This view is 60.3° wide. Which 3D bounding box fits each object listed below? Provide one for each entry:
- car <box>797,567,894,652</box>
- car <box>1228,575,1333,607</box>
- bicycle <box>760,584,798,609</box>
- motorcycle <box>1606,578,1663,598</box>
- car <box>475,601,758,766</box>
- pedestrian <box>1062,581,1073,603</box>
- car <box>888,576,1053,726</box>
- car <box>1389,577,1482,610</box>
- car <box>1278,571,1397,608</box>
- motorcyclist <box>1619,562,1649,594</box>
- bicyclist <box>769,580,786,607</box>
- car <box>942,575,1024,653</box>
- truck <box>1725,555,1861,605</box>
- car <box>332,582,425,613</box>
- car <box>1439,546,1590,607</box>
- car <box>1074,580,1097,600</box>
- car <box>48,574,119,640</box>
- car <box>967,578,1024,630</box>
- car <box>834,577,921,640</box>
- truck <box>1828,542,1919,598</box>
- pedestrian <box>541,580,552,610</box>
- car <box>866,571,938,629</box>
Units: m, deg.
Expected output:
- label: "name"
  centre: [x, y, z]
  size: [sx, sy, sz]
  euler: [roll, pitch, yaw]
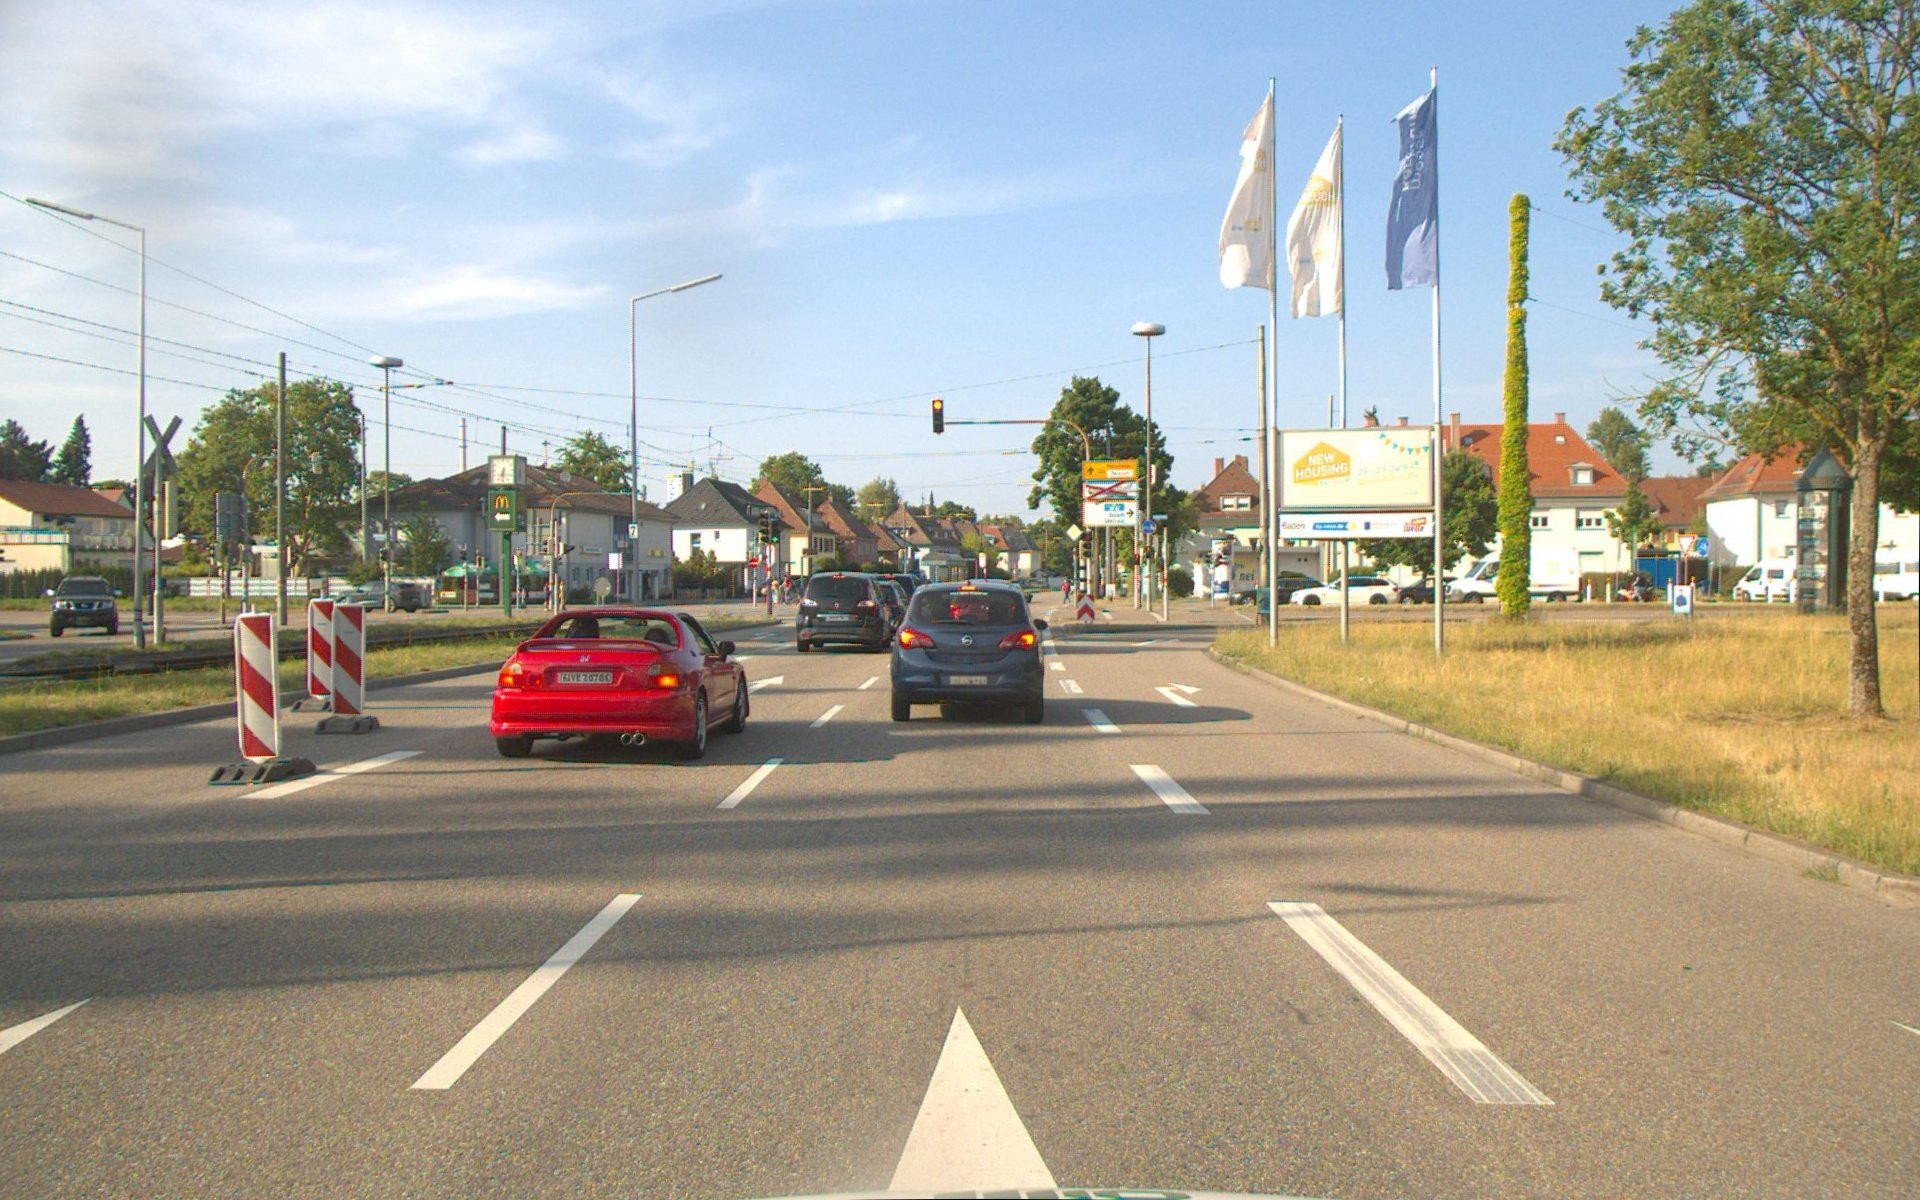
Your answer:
- label: "car"
  centre: [-2.381, 0.168, 35.370]
  size: [1.727, 1.700, 4.085]
  euler: [0, 1, 1]
- label: "car"
  centre: [15.045, -0.441, 77.829]
  size: [4.722, 1.436, 1.717]
  euler: [0, 0, 5]
- label: "bicycle"
  centre: [-9.953, -0.193, 91.105]
  size: [2.034, 1.371, 1.107]
  euler: [1, 0, -5]
- label: "motorcycle"
  centre: [29.588, -0.532, 72.591]
  size: [2.223, 0.882, 0.691]
  euler: [0, 0, 3]
- label: "car"
  centre: [-2.913, 0.654, 14.834]
  size: [1.695, 1.227, 3.847]
  euler: [0, 1, 1]
- label: "pedestrian"
  centre: [7.667, -0.552, 117.978]
  size: [0.737, 1.525, 0.828]
  euler: [1, 0, 7]
- label: "car"
  centre: [0.041, 0.493, 19.258]
  size: [1.706, 1.531, 4.221]
  euler: [0, 1, -2]
- label: "car"
  centre: [22.227, -0.311, 77.417]
  size: [3.903, 1.478, 1.717]
  euler: [0, 0, 5]
- label: "car"
  centre: [16.906, -0.472, 74.183]
  size: [4.987, 1.590, 1.841]
  euler: [0, 0, 5]
- label: "motorcyclist"
  centre: [29.587, -0.974, 72.586]
  size: [1.043, 1.375, 0.680]
  euler: [0, 0, 3]
- label: "bicyclist"
  centre: [-10.047, -0.352, 91.112]
  size: [0.867, 1.456, 1.135]
  euler: [1, 0, -5]
- label: "car"
  centre: [0.520, 0.263, 35.960]
  size: [1.671, 1.579, 3.978]
  euler: [-1, 1, 1]
- label: "truck"
  centre: [44.161, -1.095, 87.835]
  size: [2.247, 2.568, 6.292]
  euler: [-1, 1, -31]
- label: "car"
  centre: [-28.919, -0.136, 82.318]
  size: [3.902, 1.512, 2.002]
  euler: [-1, 1, 6]
- label: "car"
  centre: [24.658, -1.038, 73.748]
  size: [6.077, 2.628, 2.001]
  euler: [0, 0, 4]
- label: "car"
  centre: [9.349, -0.707, 122.975]
  size: [1.639, 1.422, 4.002]
  euler: [1, 0, 4]
- label: "car"
  centre: [-29.136, 0.190, 55.031]
  size: [1.971, 2.049, 5.309]
  euler: [-1, 1, -28]
- label: "car"
  centre: [1.068, 0.103, 49.418]
  size: [1.622, 1.468, 4.015]
  euler: [-1, 1, 2]
- label: "car"
  centre: [-2.076, 0.177, 42.643]
  size: [1.664, 1.534, 4.556]
  euler: [0, 1, 5]
- label: "truck"
  centre: [49.812, -1.589, 88.188]
  size: [1.880, 2.904, 5.986]
  euler: [-1, 0, -42]
- label: "pedestrian"
  centre: [-23.011, -0.284, 92.035]
  size: [0.501, 1.627, 0.540]
  euler: [0, 0, 0]
- label: "car"
  centre: [-1.716, -0.031, 50.343]
  size: [1.474, 1.680, 4.748]
  euler: [-1, 1, 6]
